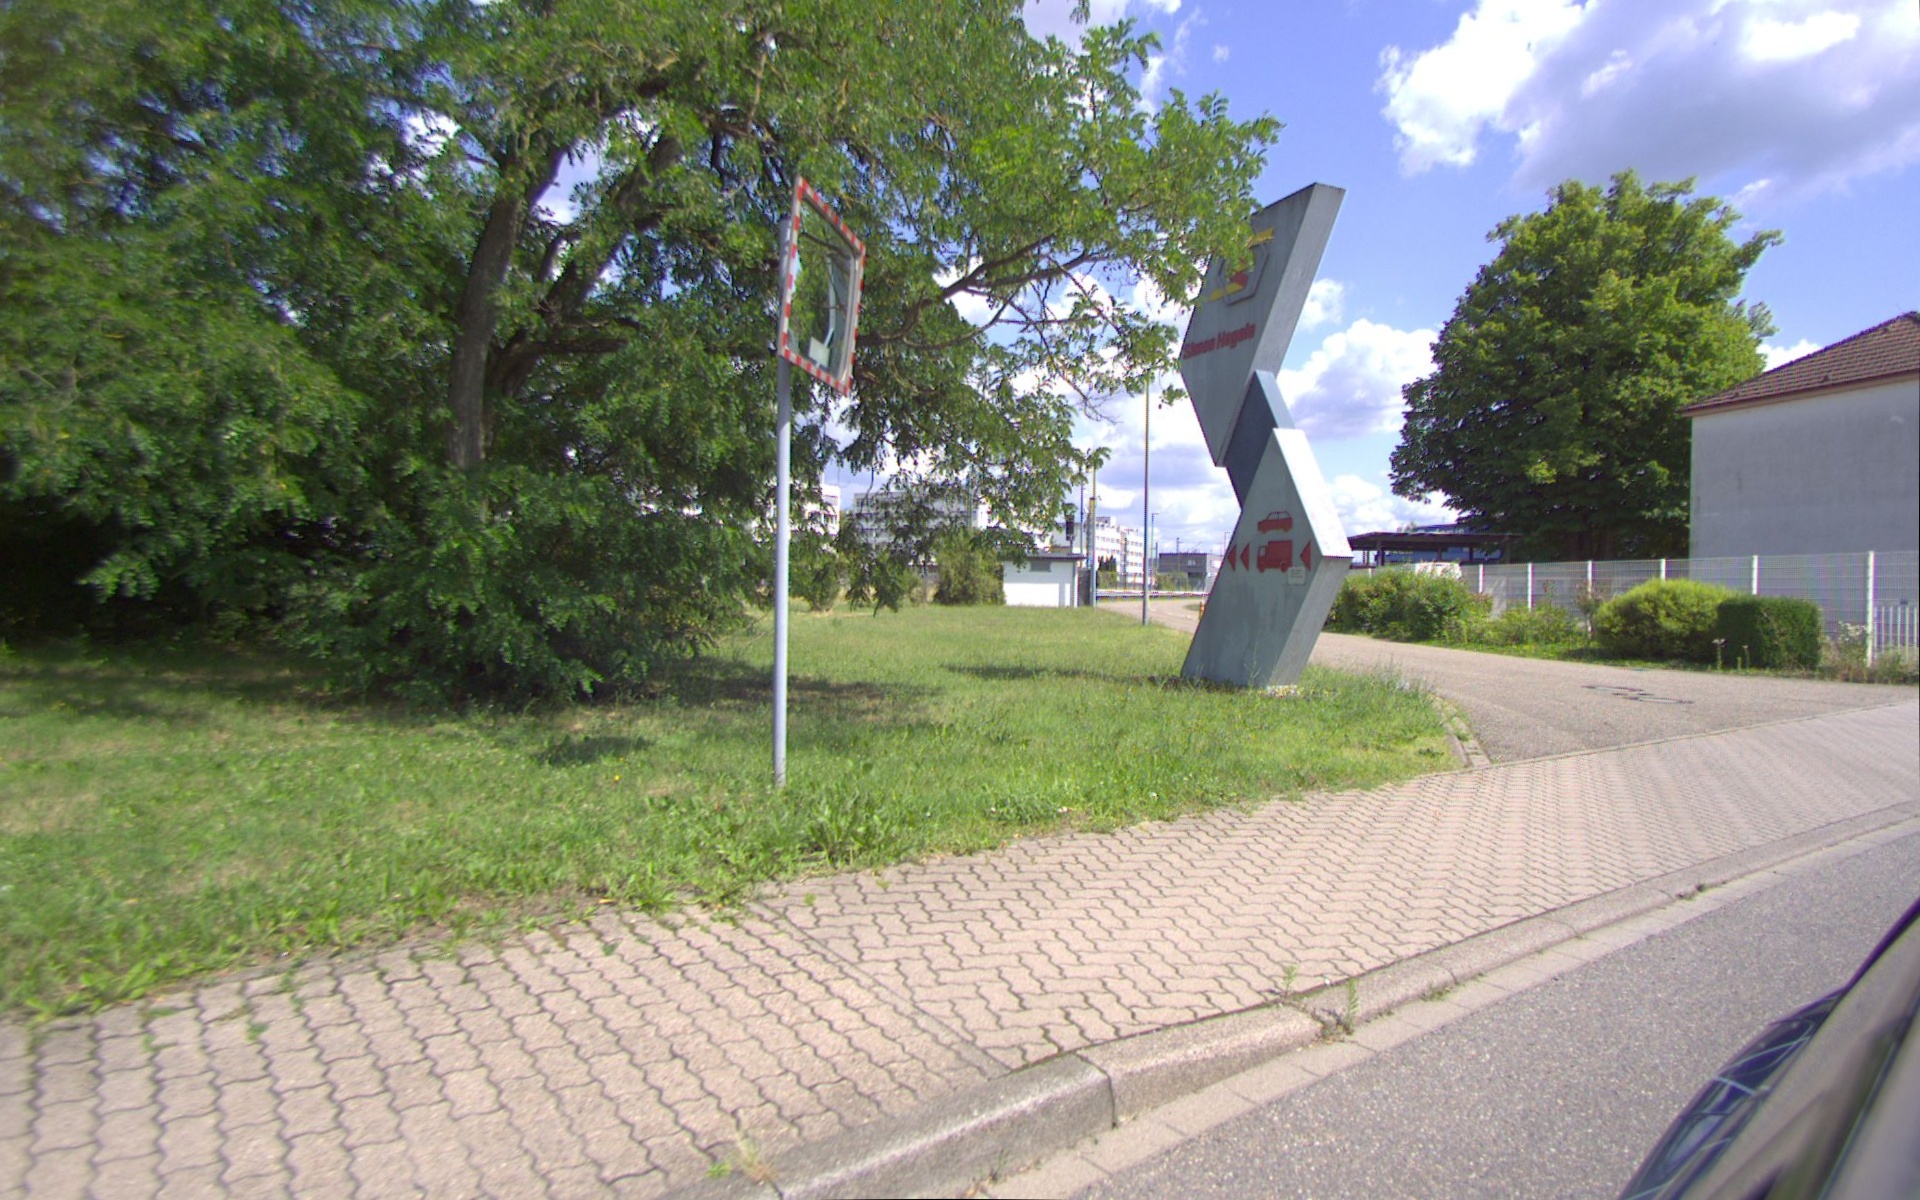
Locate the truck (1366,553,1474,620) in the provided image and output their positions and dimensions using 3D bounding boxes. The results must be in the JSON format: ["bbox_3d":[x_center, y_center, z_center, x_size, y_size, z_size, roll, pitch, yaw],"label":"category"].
[{"bbox_3d":[18.387,-0.579,40.744,1.961,2.455,4.747,2,1,-2],"label":"truck"}]
